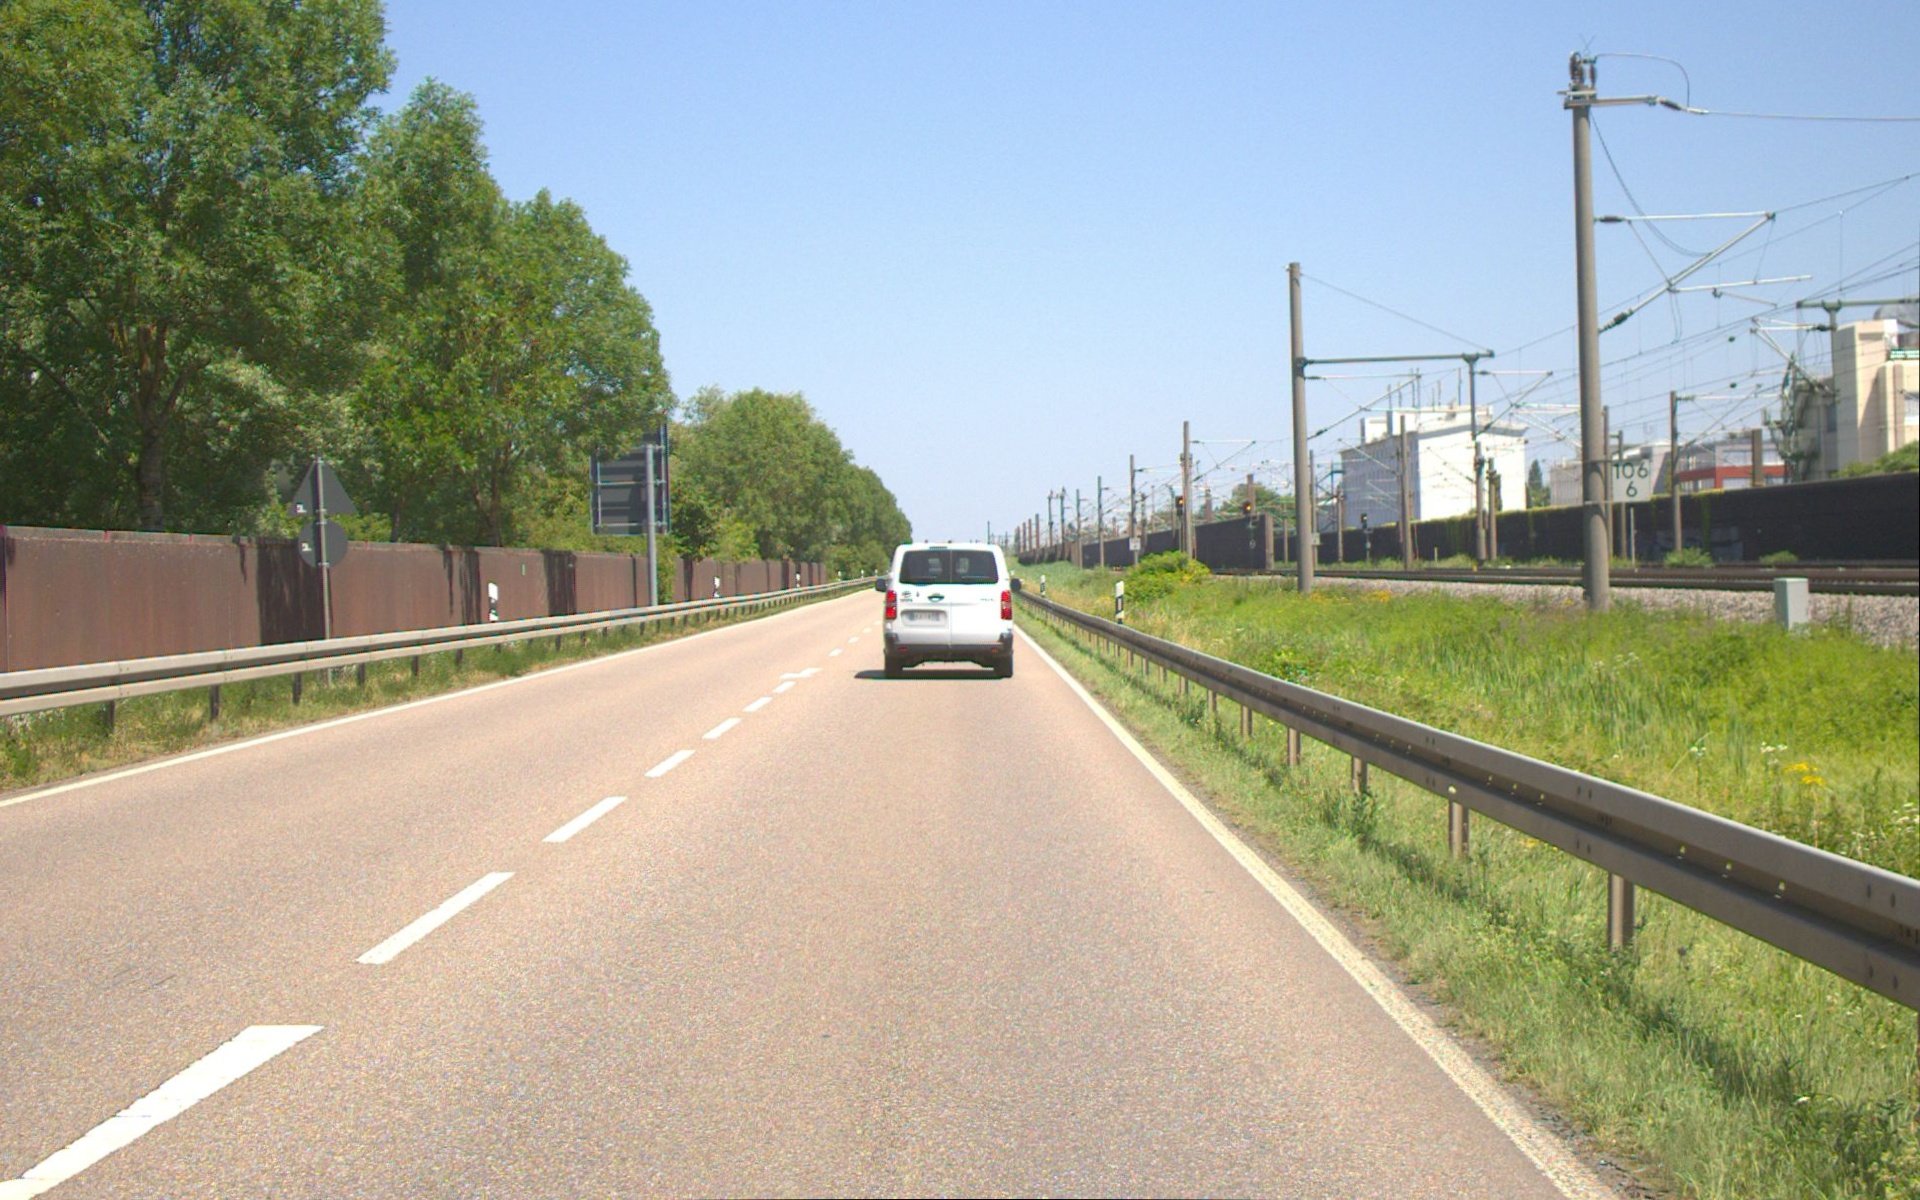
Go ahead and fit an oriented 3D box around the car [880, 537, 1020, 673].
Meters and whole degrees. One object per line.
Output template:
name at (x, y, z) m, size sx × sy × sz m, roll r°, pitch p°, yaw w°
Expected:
car at (-0.144, 0.058, 50.326) m, size 1.946 × 1.875 × 4.881 m, roll 0°, pitch 0°, yaw 0°
